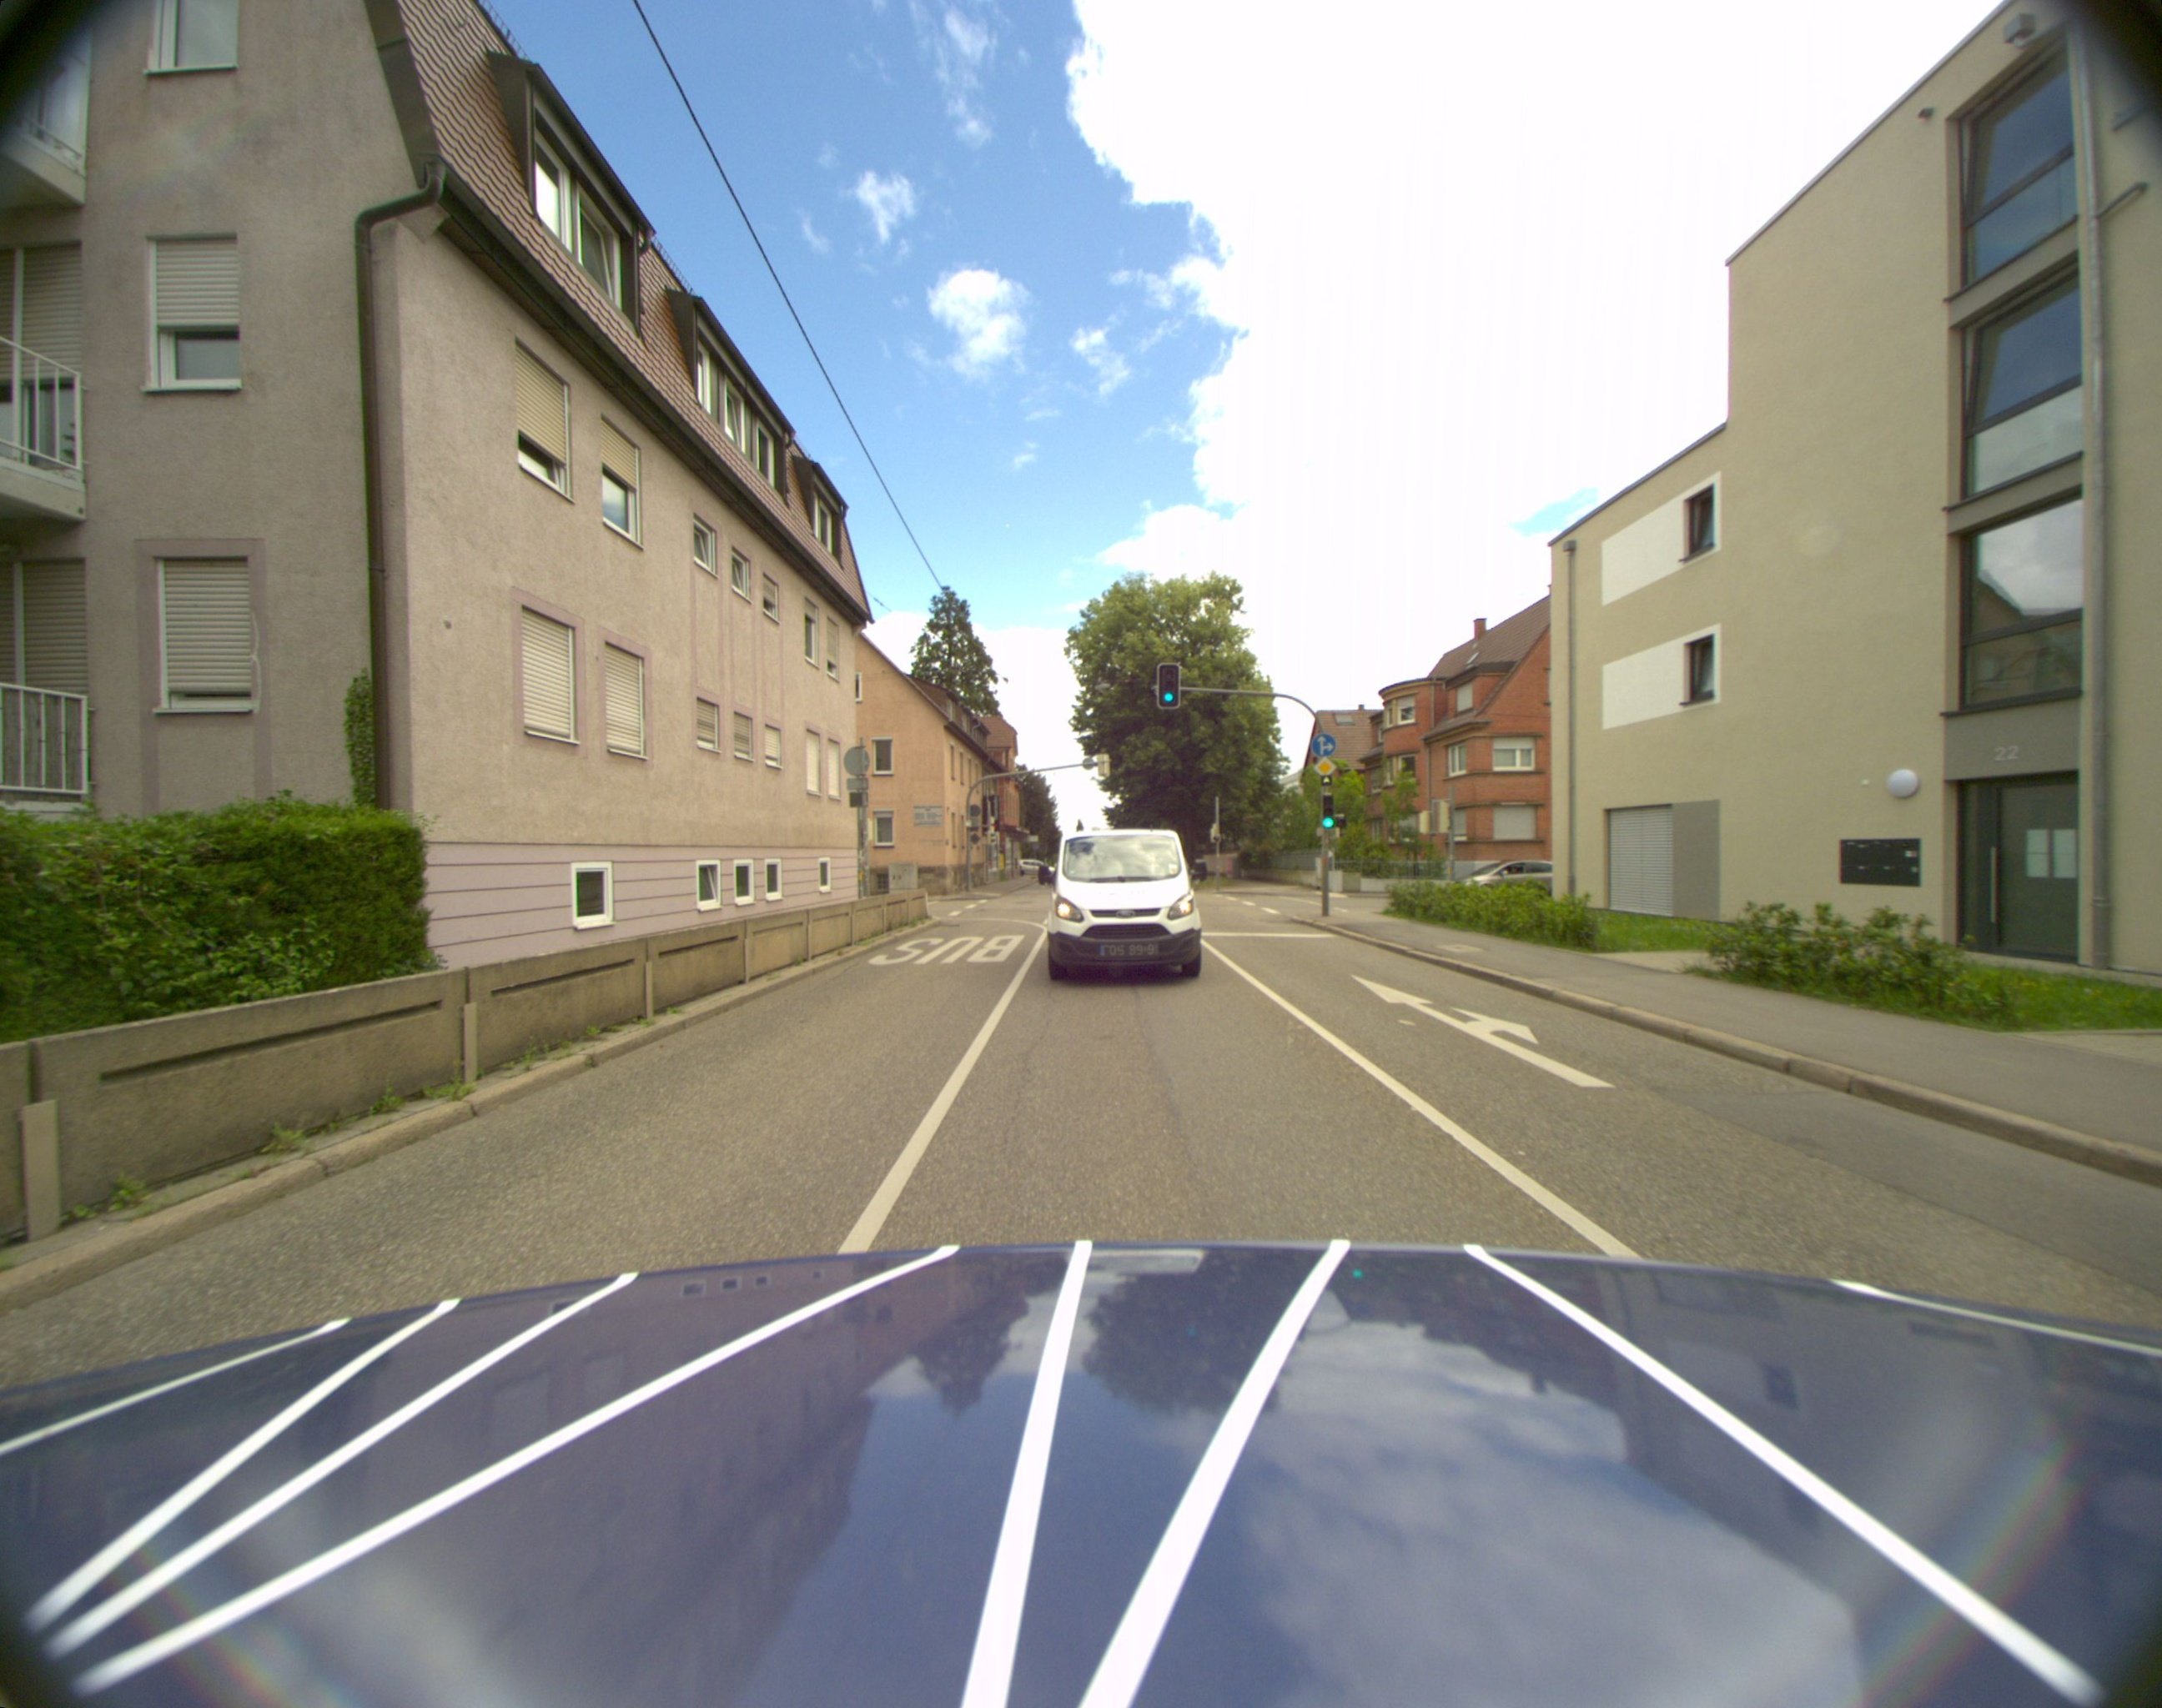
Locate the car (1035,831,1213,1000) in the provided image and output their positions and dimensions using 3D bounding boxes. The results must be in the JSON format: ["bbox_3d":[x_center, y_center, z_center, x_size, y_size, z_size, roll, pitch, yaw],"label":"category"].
[{"bbox_3d":[0.522,0.714,11.427,2.062,1.945,5.060,-1,0,0],"label":"car"}]

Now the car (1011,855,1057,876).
[{"bbox_3d":[-4.217,1.031,68.855,3.998,1.674,1.838,-2,1,-3],"label":"car"}]

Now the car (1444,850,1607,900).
[{"bbox_3d":[16.356,0.728,28.106,4.813,1.675,2.175,-1,0,-4],"label":"car"}]
